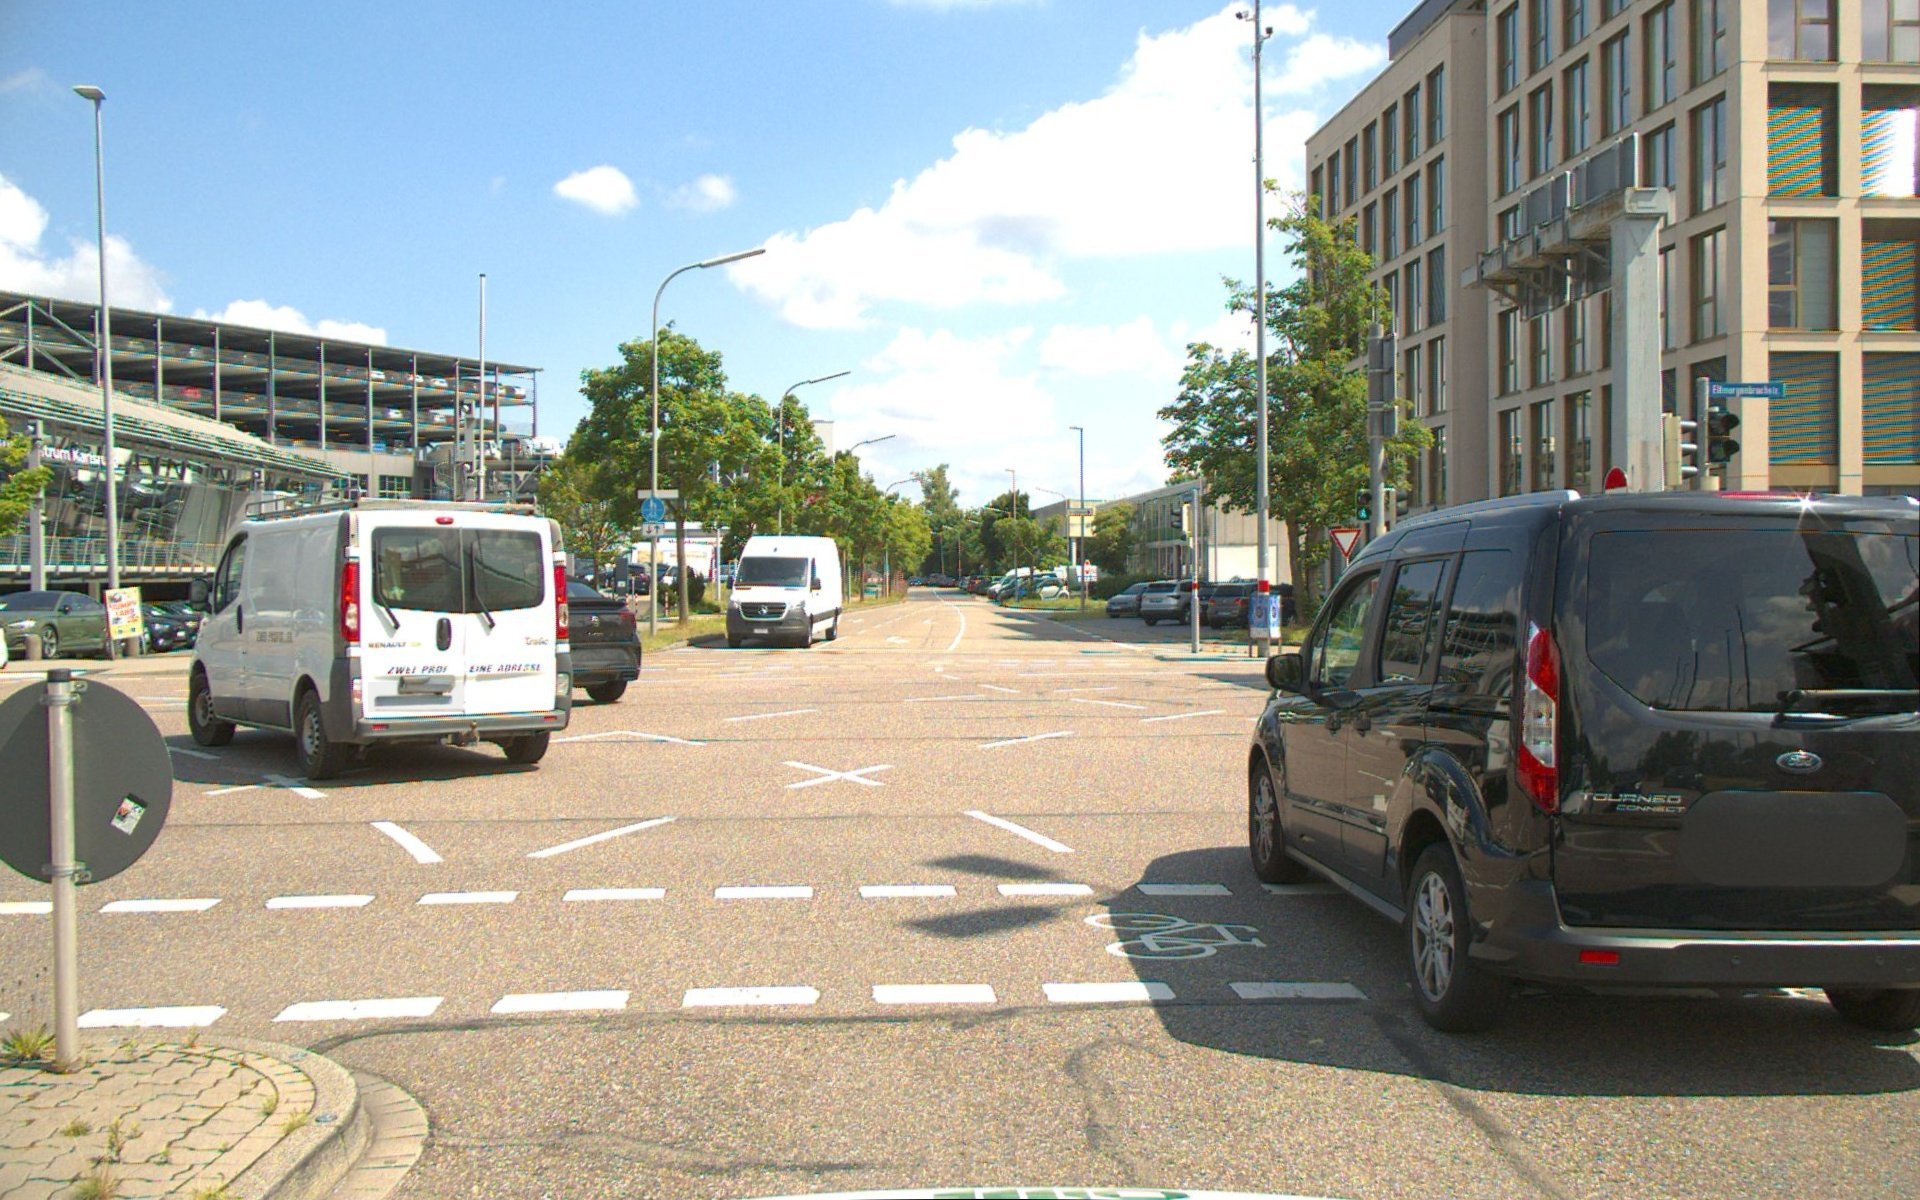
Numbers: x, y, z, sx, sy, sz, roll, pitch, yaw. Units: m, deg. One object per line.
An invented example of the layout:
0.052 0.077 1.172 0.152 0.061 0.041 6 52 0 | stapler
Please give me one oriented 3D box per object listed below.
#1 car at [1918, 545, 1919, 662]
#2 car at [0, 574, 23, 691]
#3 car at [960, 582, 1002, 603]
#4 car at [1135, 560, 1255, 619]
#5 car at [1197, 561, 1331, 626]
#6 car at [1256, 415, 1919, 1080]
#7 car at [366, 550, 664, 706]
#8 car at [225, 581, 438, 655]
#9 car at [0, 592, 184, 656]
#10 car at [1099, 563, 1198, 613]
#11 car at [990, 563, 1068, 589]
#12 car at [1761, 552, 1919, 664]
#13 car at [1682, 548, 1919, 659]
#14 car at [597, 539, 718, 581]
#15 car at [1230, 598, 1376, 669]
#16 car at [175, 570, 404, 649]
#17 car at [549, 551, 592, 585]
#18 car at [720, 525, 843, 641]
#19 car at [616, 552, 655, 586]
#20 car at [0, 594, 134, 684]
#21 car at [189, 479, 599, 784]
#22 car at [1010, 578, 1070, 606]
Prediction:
15.753 0.079 22.865 4.119 1.655 1.825 1 -1 -8 | car
-15.458 0.424 22.915 3.904 1.646 1.778 1 -1 2 | car
2.101 -0.763 164.809 3.913 2.049 1.996 1 -1 -9 | car
8.490 -0.365 59.938 3.913 2.049 1.996 1 -1 -9 | car
10.018 -0.202 54.596 3.913 2.049 1.996 1 -1 -9 | car
2.499 0.432 6.841 1.786 1.938 3.999 0 0 -1 | car
-5.359 0.294 19.647 1.766 1.658 3.935 0 0 -44 | car
-15.433 0.444 40.791 4.484 1.707 1.906 1 -1 -4 | car
-25.408 0.703 48.394 4.452 1.771 1.997 1 -1 -7 | car
8.210 -0.504 72.096 3.913 2.049 1.996 1 -1 -9 | car
5.681 -1.974 136.529 6.214 2.049 2.571 1 -1 -3 | car
14.926 0.153 25.760 4.119 1.655 1.825 1 -1 -8 | car
15.762 0.083 29.623 4.883 1.870 1.996 1 -1 -8 | car
-16.345 -2.146 89.541 6.263 2.139 1.763 1 -1 -6 | car
10.387 1.016 50.241 3.913 2.049 1.996 1 -1 -9 | car
-15.412 0.219 38.223 4.484 1.707 1.906 1 -1 -4 | car
-19.418 -1.559 82.552 1.531 1.579 3.598 1 -1 -5 | car
-4.349 -0.354 41.547 2.088 2.653 6.865 1 -1 2 | car
-16.097 -1.506 82.093 1.531 1.579 3.598 1 -1 -5 | car
-18.789 0.761 33.736 1.864 1.707 4.585 1 -1 -5 | car
-4.871 0.214 13.799 1.958 2.096 4.504 0 0 -37 | car
5.394 -0.512 111.659 3.907 1.780 1.999 1 -1 -3 | car
